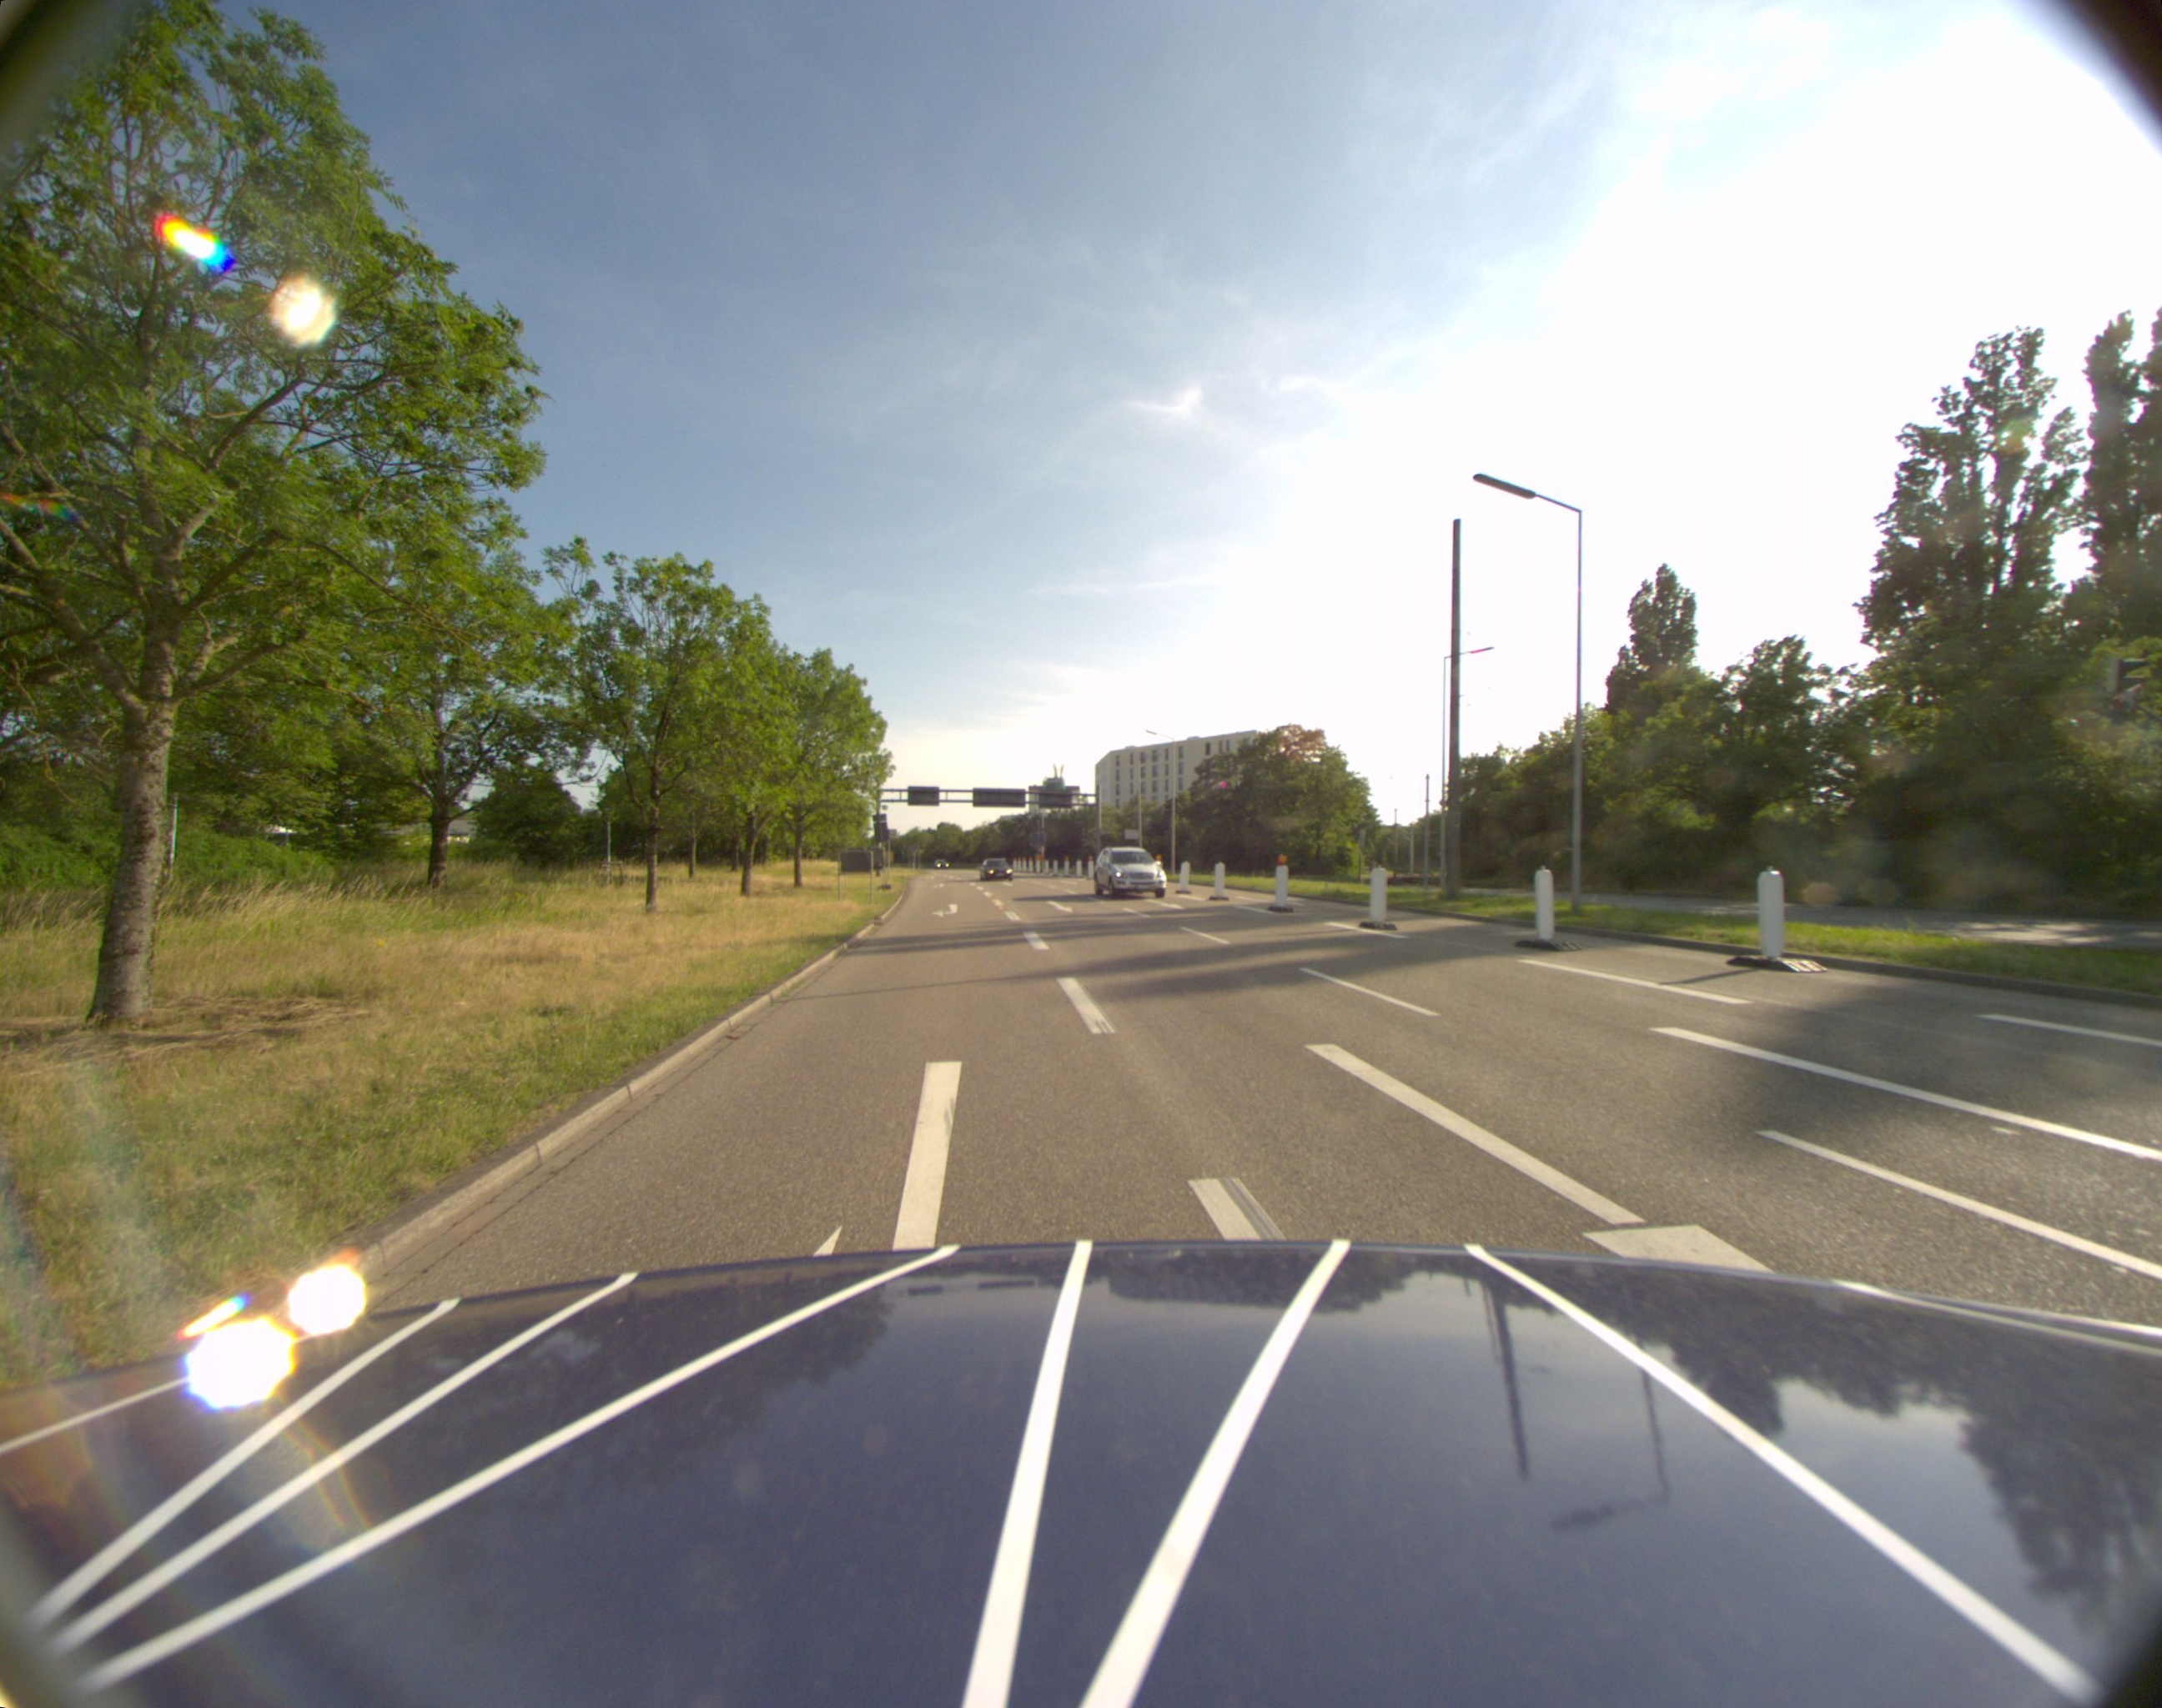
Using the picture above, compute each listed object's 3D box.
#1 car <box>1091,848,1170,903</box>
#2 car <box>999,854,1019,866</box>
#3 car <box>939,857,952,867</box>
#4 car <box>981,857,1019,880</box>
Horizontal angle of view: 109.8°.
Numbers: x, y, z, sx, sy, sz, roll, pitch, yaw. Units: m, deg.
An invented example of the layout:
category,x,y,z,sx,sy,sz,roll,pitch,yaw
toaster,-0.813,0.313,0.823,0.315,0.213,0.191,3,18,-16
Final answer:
category,x,y,z,sx,sy,sz,roll,pitch,yaw
car,1.715,0.725,27.943,1.903,1.813,4.352,-1,0,-10
car,-12.355,1.021,130.430,2.002,2.002,5.348,1,0,-21
car,-21.026,1.186,117.986,1.897,1.447,3.905,1,0,-11
car,-5.353,0.899,49.531,1.903,1.377,4.351,-1,0,-13
